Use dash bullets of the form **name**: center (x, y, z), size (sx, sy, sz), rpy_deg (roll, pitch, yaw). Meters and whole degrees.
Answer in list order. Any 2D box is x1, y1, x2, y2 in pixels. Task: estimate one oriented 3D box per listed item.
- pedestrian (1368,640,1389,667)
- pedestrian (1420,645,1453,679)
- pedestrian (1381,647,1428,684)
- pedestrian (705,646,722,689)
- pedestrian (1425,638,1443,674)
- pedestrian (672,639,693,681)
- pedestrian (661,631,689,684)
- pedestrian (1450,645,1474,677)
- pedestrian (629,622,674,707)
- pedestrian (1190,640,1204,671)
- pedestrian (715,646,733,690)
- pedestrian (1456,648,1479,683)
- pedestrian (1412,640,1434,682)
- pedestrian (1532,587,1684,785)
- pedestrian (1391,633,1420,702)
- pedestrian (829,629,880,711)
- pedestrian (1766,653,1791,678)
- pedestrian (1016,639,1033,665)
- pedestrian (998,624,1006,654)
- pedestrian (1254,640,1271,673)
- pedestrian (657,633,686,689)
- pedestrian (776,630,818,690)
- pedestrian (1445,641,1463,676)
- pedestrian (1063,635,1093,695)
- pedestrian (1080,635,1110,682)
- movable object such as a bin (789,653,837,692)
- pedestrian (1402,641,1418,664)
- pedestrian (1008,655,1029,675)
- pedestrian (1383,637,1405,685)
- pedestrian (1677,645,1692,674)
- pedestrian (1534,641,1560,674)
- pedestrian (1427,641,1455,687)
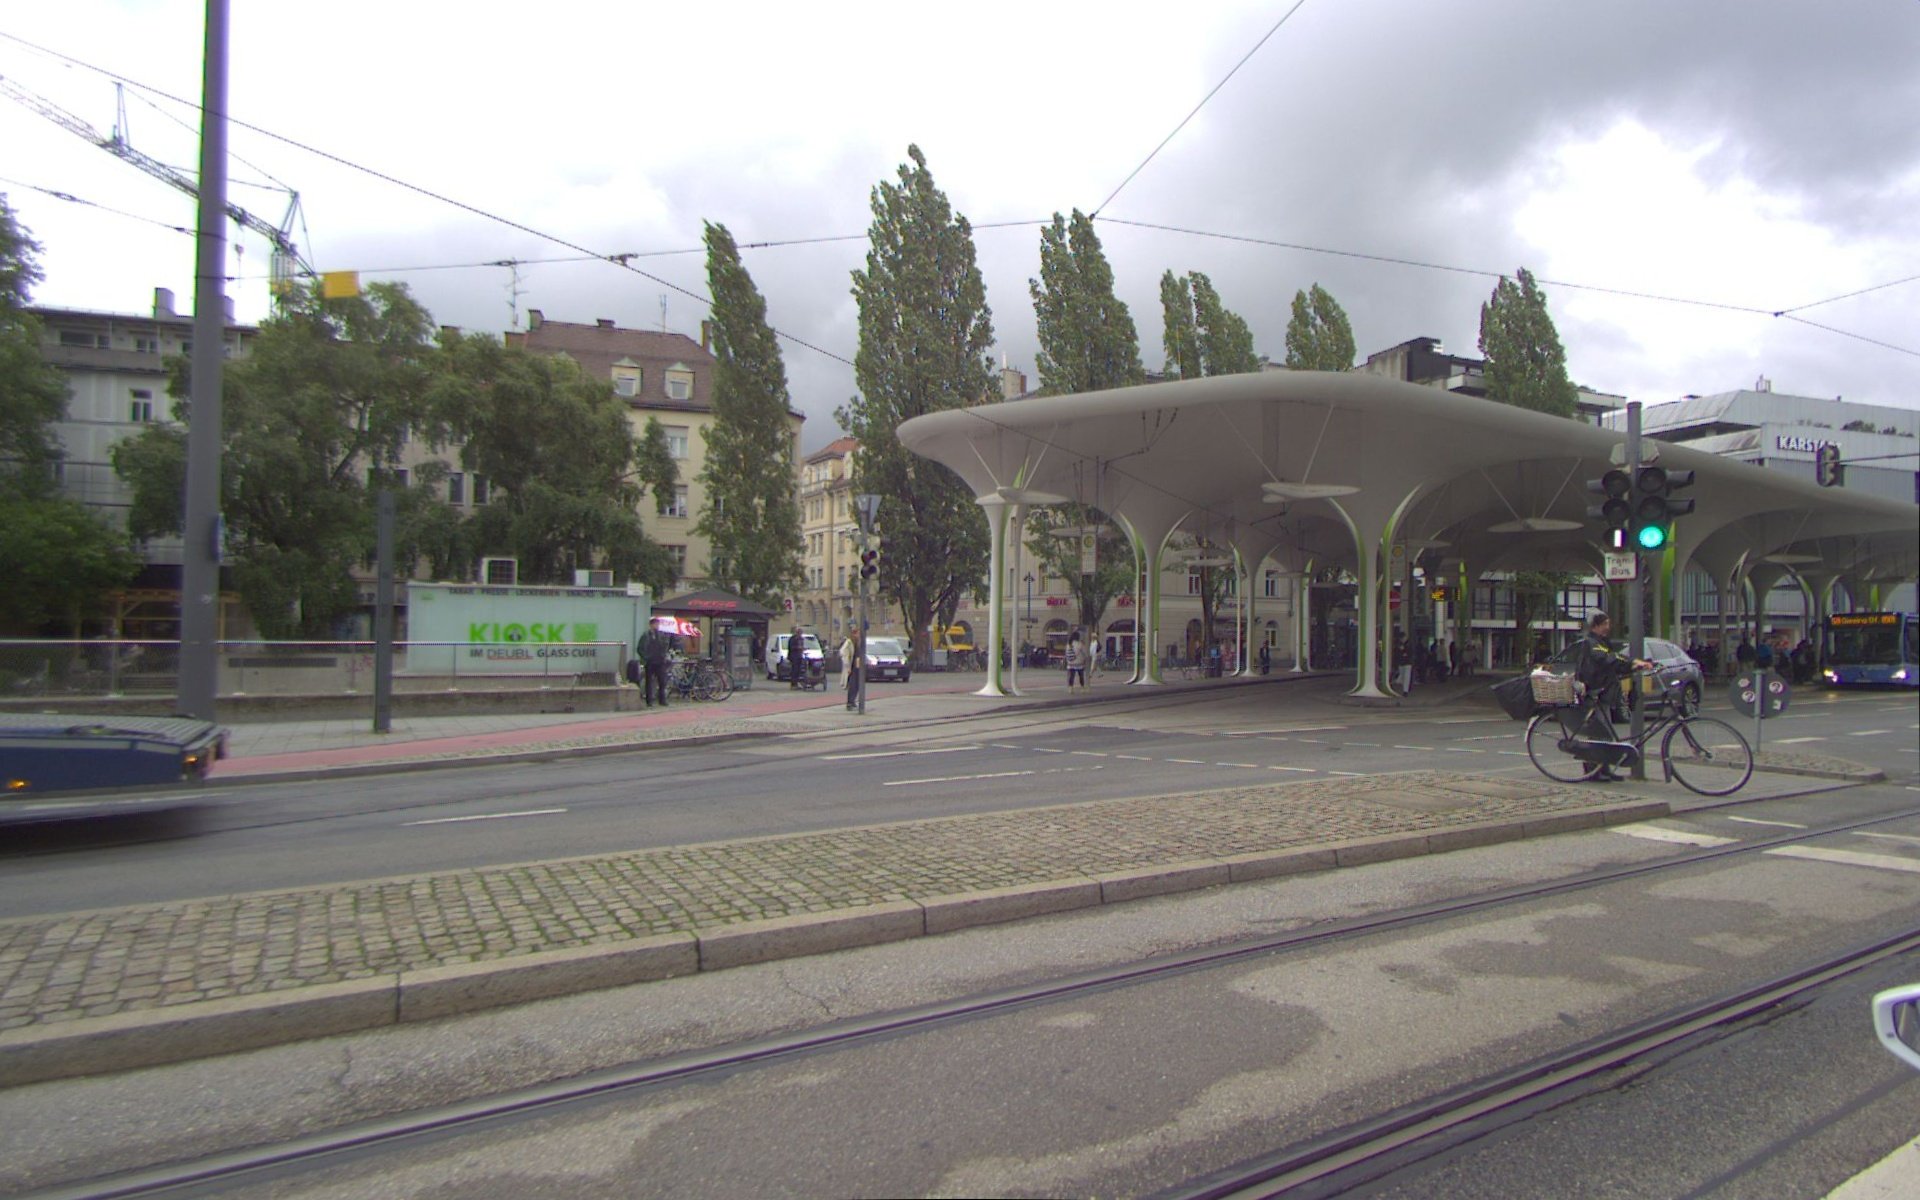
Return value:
- **pedestrian**: center (27.980, 3.582, 67.127), size (0.981, 1.796, 0.930), rpy_deg (1, -2, -11)
- **pedestrian**: center (20.123, 2.619, 42.436), size (0.829, 1.388, 0.961), rpy_deg (1, -2, -23)
- **pedestrian**: center (15.361, 2.276, 34.740), size (1.248, 1.246, 0.811), rpy_deg (1, -2, -12)
- **pedestrian**: center (-7.500, 2.061, 30.535), size (0.425, 1.286, 0.409), rpy_deg (1, -2, -25)
- **pedestrian**: center (22.948, 2.688, 48.649), size (0.635, 1.719, 0.700), rpy_deg (0, -2, 11)
- **pedestrian**: center (-10.831, 2.327, 39.168), size (0.629, 1.603, 0.631), rpy_deg (2, -2, -30)
- **pedestrian**: center (-8.926, 1.785, 31.457), size (0.784, 1.621, 0.738), rpy_deg (1, -2, -15)
- **pedestrian**: center (24.874, 3.015, 49.752), size (0.888, 1.528, 0.738), rpy_deg (2, -2, -37)
- **pedestrian**: center (-6.471, 1.351, 21.063), size (0.847, 1.739, 0.733), rpy_deg (1, -2, -20)
- **pedestrian**: center (13.818, 3.229, 58.572), size (0.546, 1.838, 0.556), rpy_deg (1, -2, -19)
- **pedestrian**: center (-7.080, 2.042, 30.163), size (0.425, 1.286, 0.409), rpy_deg (1, -2, -25)
- **pedestrian**: center (23.867, 3.079, 47.247), size (0.691, 1.639, 0.644), rpy_deg (1, -2, -26)
- **pedestrian**: center (17.415, 2.296, 37.779), size (0.586, 1.565, 0.634), rpy_deg (-1, -2, 42)
- **pedestrian**: center (6.307, 0.818, 9.813), size (0.882, 1.835, 0.859), rpy_deg (2, -1, -12)
- **pedestrian**: center (12.256, 1.848, 27.642), size (0.654, 1.863, 0.809), rpy_deg (0, -2, 29)
- **pedestrian**: center (-2.164, 1.427, 20.687), size (0.727, 1.650, 0.740), rpy_deg (-1, -2, 39)
- **pedestrian**: center (45.440, 3.610, 55.775), size (0.822, 1.334, 0.880), rpy_deg (0, -2, 16)
- **pedestrian**: center (4.496, 3.608, 69.899), size (0.792, 1.807, 0.950), rpy_deg (2, -2, -31)
- **pedestrian**: center (2.902, 2.710, 69.125), size (0.561, 2.040, 0.670), rpy_deg (1, -2, 3)
- **pedestrian**: center (15.323, 2.852, 50.870), size (0.635, 1.669, 0.596), rpy_deg (2, -2, -38)
- **pedestrian**: center (-8.543, 1.793, 29.785), size (0.784, 1.621, 0.738), rpy_deg (1, -2, -15)
- **pedestrian**: center (-5.016, 1.835, 30.906), size (0.947, 1.785, 1.022), rpy_deg (2, -2, -33)
- **pedestrian**: center (22.641, 2.681, 46.028), size (0.652, 1.585, 0.640), rpy_deg (-1, -2, 35)
- **pedestrian**: center (3.298, 1.800, 28.020), size (0.822, 1.630, 0.748), rpy_deg (0, -2, 7)
- **pedestrian**: center (5.933, 2.553, 44.205), size (1.010, 2.040, 1.002), rpy_deg (1, -2, -14)
- **movable object such as a bin**: center (-4.392, 2.155, 29.909), size (0.947, 1.098, 1.325), rpy_deg (2, -2, -33)
- **pedestrian**: center (33.344, 3.903, 74.399), size (0.762, 1.683, 0.779), rpy_deg (1, -2, -21)
- **pedestrian**: center (3.420, 3.825, 58.915), size (0.606, 1.097, 1.835), rpy_deg (1, -2, -16)
- **pedestrian**: center (17.574, 2.445, 40.698), size (0.701, 1.897, 0.876), rpy_deg (0, -2, 32)
- **pedestrian**: center (41.629, 3.415, 57.738), size (0.543, 1.632, 0.568), rpy_deg (2, -2, -39)
- **pedestrian**: center (31.957, 3.133, 54.704), size (0.884, 1.753, 0.867), rpy_deg (1, -2, -28)
- **pedestrian**: center (18.619, 2.450, 38.869), size (0.799, 1.750, 0.669), rpy_deg (-1, -3, 44)
